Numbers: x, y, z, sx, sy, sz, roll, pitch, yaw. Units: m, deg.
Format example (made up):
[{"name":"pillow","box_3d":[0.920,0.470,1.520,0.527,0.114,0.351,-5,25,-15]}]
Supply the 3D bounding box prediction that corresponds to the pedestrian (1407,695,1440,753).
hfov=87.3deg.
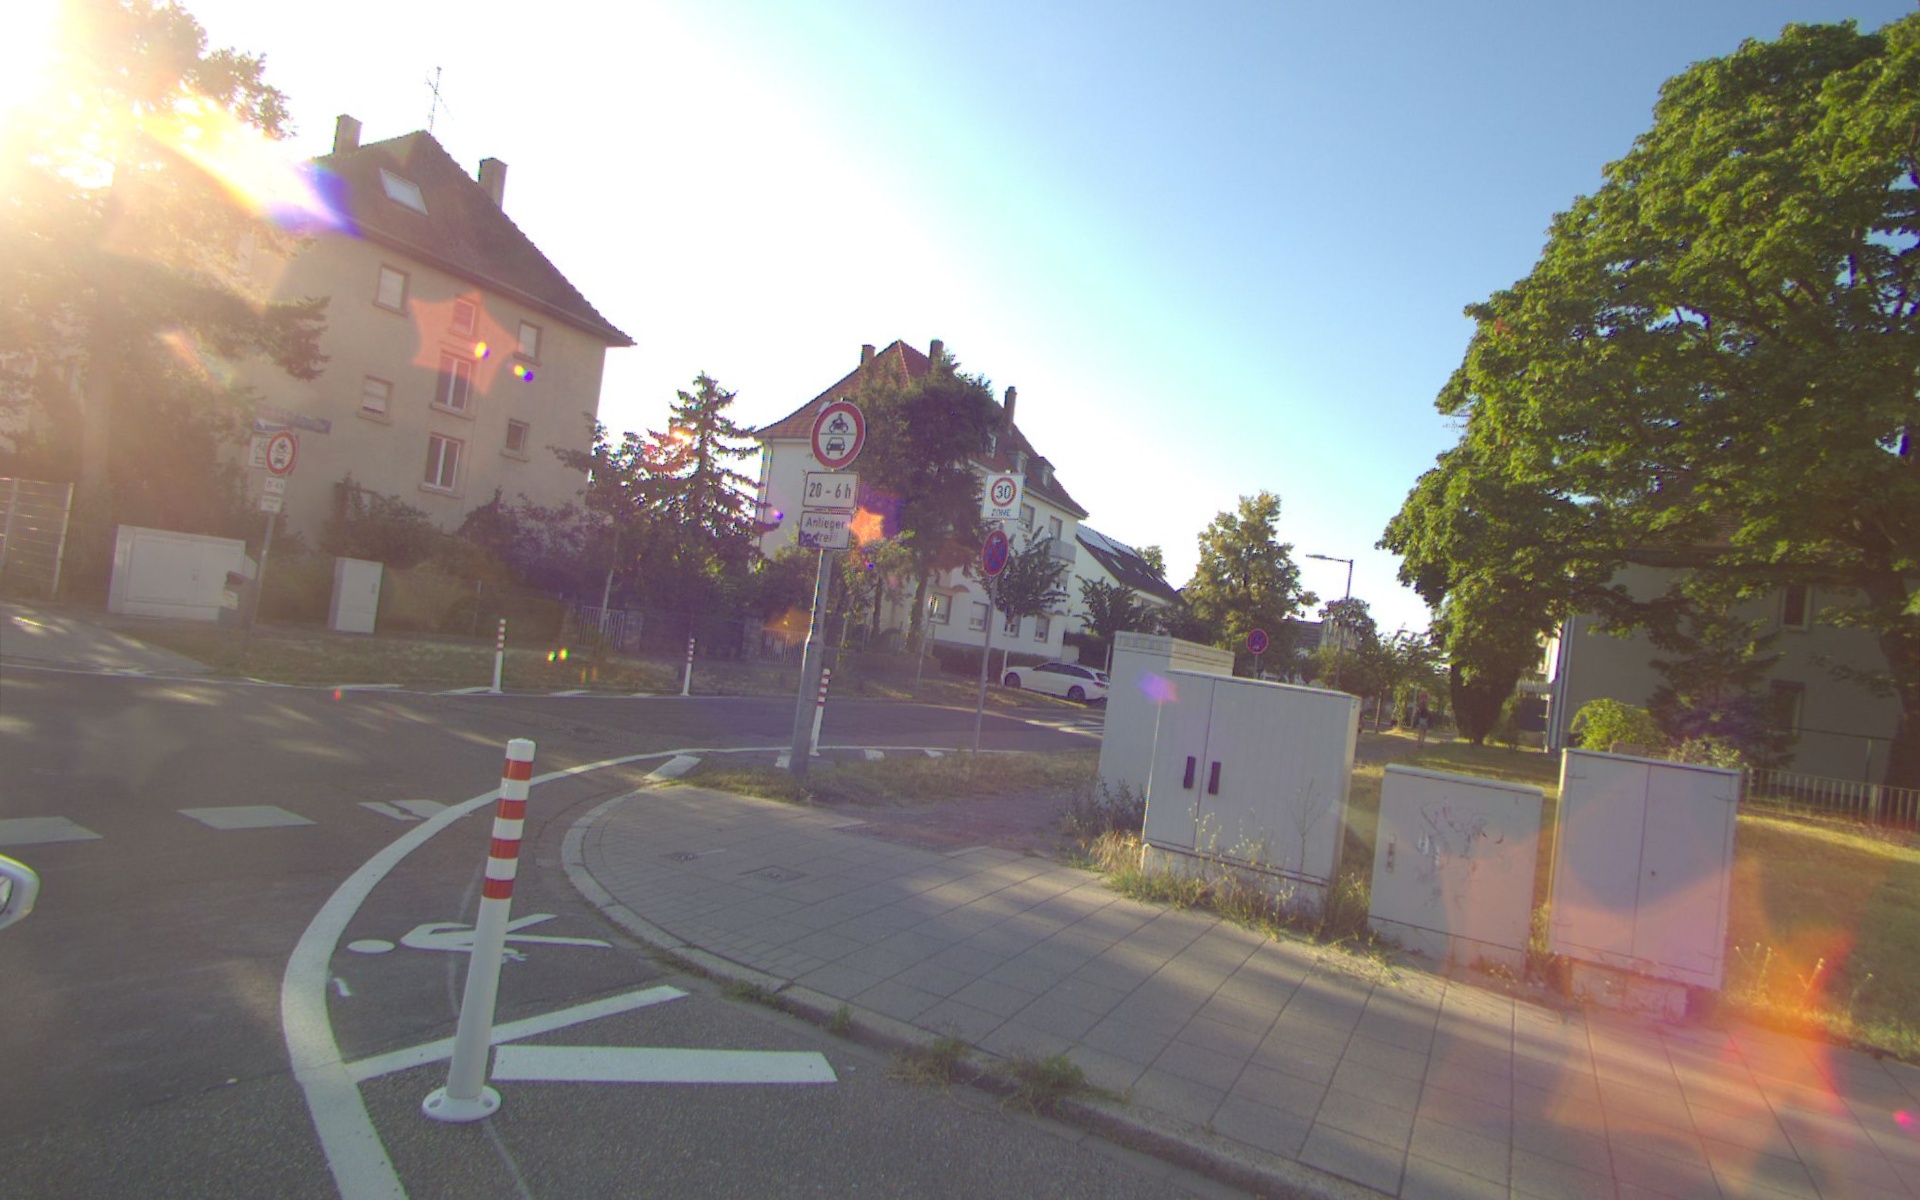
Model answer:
[{"name":"pedestrian","box_3d":[17.430,4.641,37.837,0.883,2.037,0.692,6,-2,29]}]

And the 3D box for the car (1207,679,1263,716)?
[{"name":"car","box_3d":[14.481,5.151,52.844,1.937,1.632,4.248,6,-3,26]}]

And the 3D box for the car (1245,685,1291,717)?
[{"name":"car","box_3d":[18.887,6.216,61.649,1.937,1.632,4.248,6,-3,26]}]

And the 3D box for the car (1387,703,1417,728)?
[{"name":"car","box_3d":[35.335,9.210,80.316,1.937,1.632,4.248,6,-3,26]}]

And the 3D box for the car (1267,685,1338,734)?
[{"name":"car","box_3d":[13.947,4.462,40.808,1.938,1.632,4.245,6,-3,29]}]

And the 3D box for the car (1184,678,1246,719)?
[{"name":"car","box_3d":[12.214,4.730,48.070,1.937,1.632,4.248,6,-3,26]}]

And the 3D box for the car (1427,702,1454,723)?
[{"name":"car","box_3d":[44.463,10.411,93.017,1.938,1.632,4.245,6,-3,29]}]

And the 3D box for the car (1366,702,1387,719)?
[{"name":"car","box_3d":[49.061,13.004,118.362,1.937,1.795,4.248,6,-3,26]}]

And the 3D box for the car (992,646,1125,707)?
[{"name":"car","box_3d":[3.946,3.081,40.420,4.754,1.632,1.971,8,-1,28]}]

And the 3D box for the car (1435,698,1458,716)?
[{"name":"car","box_3d":[51.575,11.321,106.607,1.938,1.632,4.245,6,-3,29]}]

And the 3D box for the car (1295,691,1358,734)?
[{"name":"car","box_3d":[16.778,5.137,45.925,1.938,1.632,4.245,6,-3,29]}]

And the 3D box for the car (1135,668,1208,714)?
[{"name":"car","box_3d":[9.051,3.886,42.742,1.937,1.632,4.248,6,-3,26]}]

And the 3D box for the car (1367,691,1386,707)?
[{"name":"car","box_3d":[54.661,13.065,132.077,1.937,1.795,4.248,6,-3,26]}]
